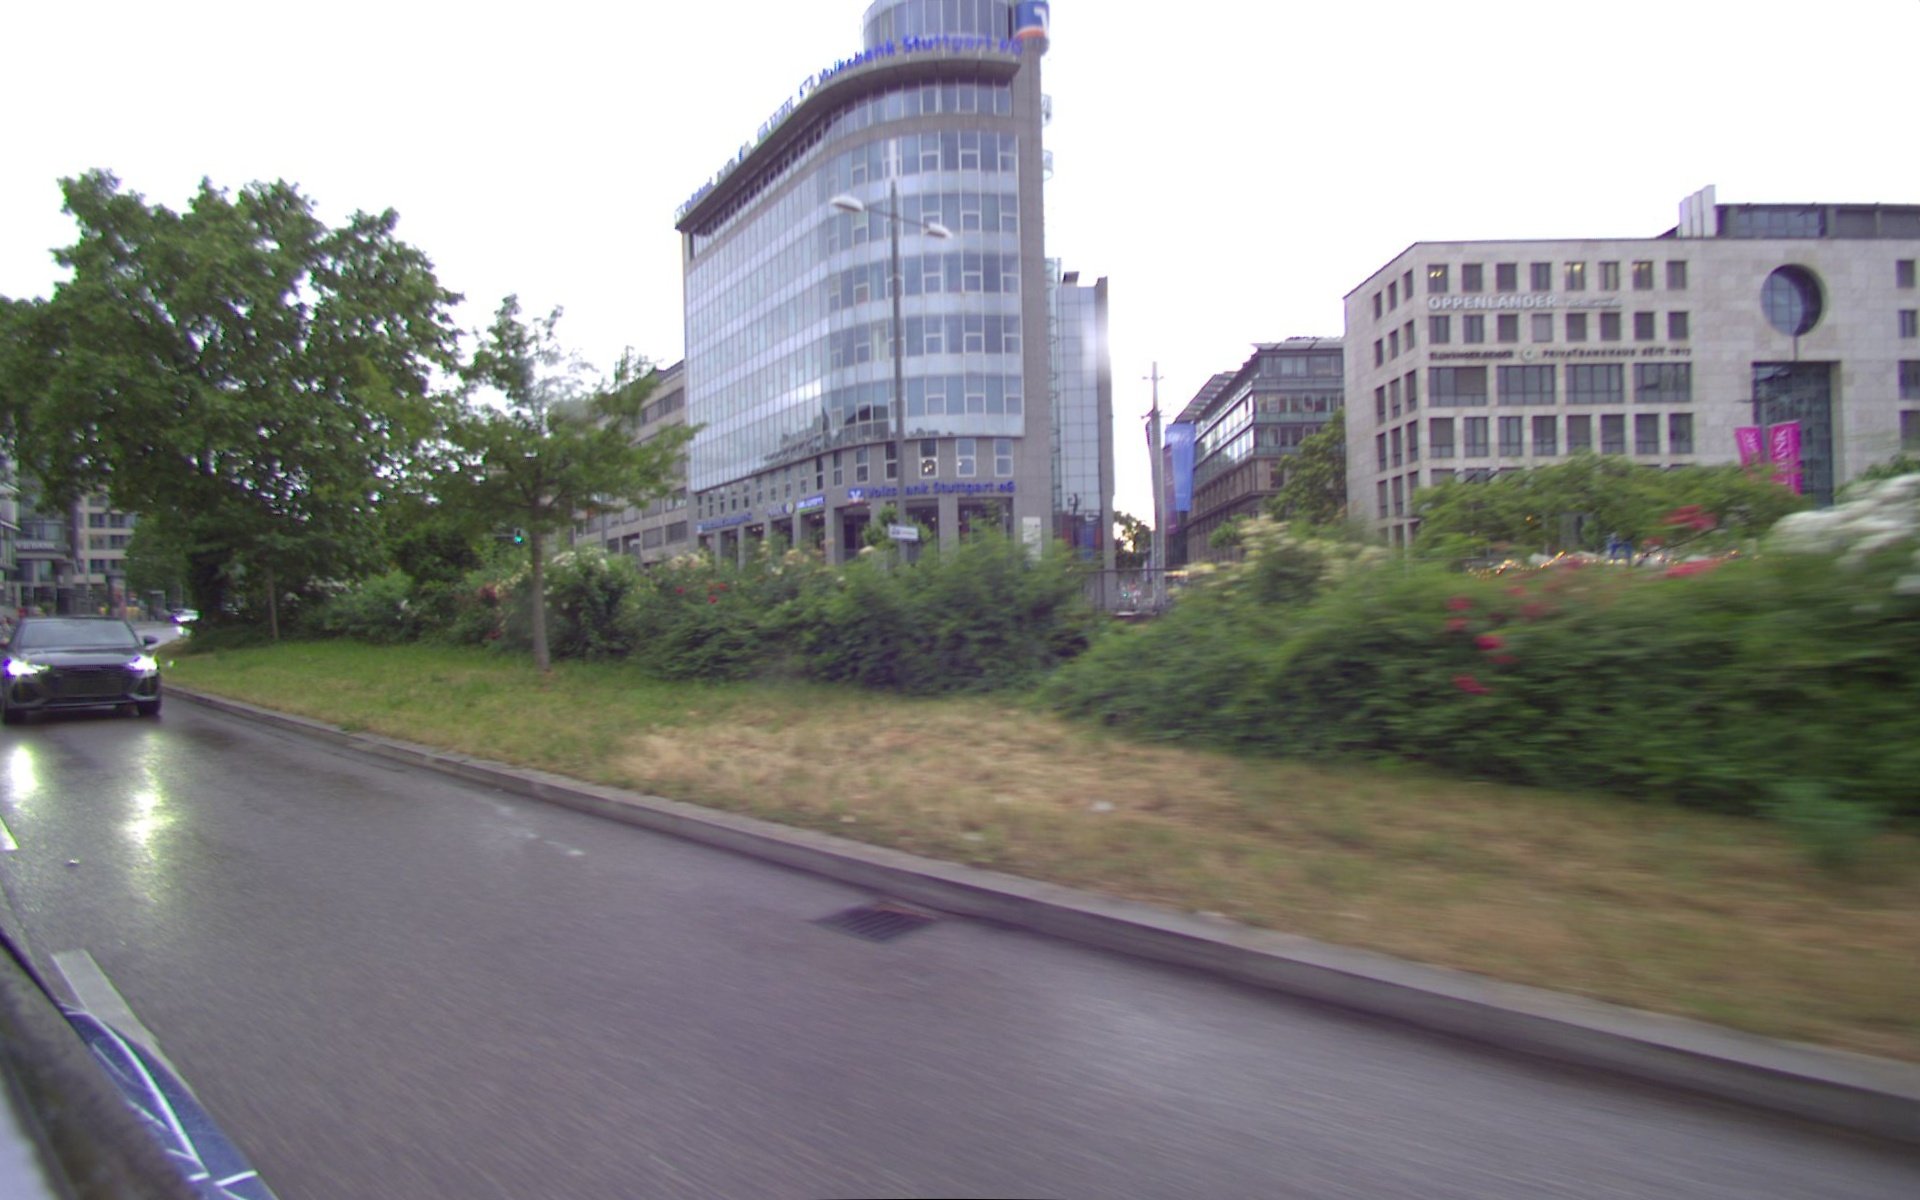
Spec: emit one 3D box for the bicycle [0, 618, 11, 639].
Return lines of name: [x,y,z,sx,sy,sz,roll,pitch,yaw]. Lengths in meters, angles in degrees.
bicycle: [-52.393,1.546,54.597,1.708,1.149,0.690,0,-1,-39]

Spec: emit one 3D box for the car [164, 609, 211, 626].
car: [-94.560,2.180,123.902,4.156,1.826,1.999,-2,1,2]

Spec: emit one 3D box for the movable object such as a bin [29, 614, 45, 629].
movable object such as a bin: [-81.661,1.905,89.558,0.792,1.275,1.792,1,-1,-35]

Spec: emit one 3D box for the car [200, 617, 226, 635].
car: [-63.306,2.196,85.817,1.580,1.395,3.028,-3,1,-33]

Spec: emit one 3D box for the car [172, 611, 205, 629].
car: [-72.156,1.845,94.691,2.039,1.599,4.119,-3,1,-33]

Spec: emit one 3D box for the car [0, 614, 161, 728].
car: [-14.141,1.003,16.005,4.347,1.529,1.840,-1,0,45]

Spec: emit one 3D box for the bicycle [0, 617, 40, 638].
bicycle: [-54.409,1.573,58.547,1.708,1.192,0.690,0,-1,-39]

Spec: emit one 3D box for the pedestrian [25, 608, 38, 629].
pedestrian: [-82.818,1.616,90.293,0.712,1.844,0.749,1,-1,-35]

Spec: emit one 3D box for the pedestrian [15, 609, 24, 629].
pedestrian: [-83.500,1.683,89.878,0.477,1.712,0.581,1,-1,-35]

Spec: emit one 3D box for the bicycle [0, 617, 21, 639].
bicycle: [-53.096,1.551,55.911,1.708,1.192,0.690,0,-1,-39]

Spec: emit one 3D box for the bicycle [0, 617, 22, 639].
bicycle: [-53.707,1.563,56.670,1.708,1.192,0.690,0,-1,-39]
